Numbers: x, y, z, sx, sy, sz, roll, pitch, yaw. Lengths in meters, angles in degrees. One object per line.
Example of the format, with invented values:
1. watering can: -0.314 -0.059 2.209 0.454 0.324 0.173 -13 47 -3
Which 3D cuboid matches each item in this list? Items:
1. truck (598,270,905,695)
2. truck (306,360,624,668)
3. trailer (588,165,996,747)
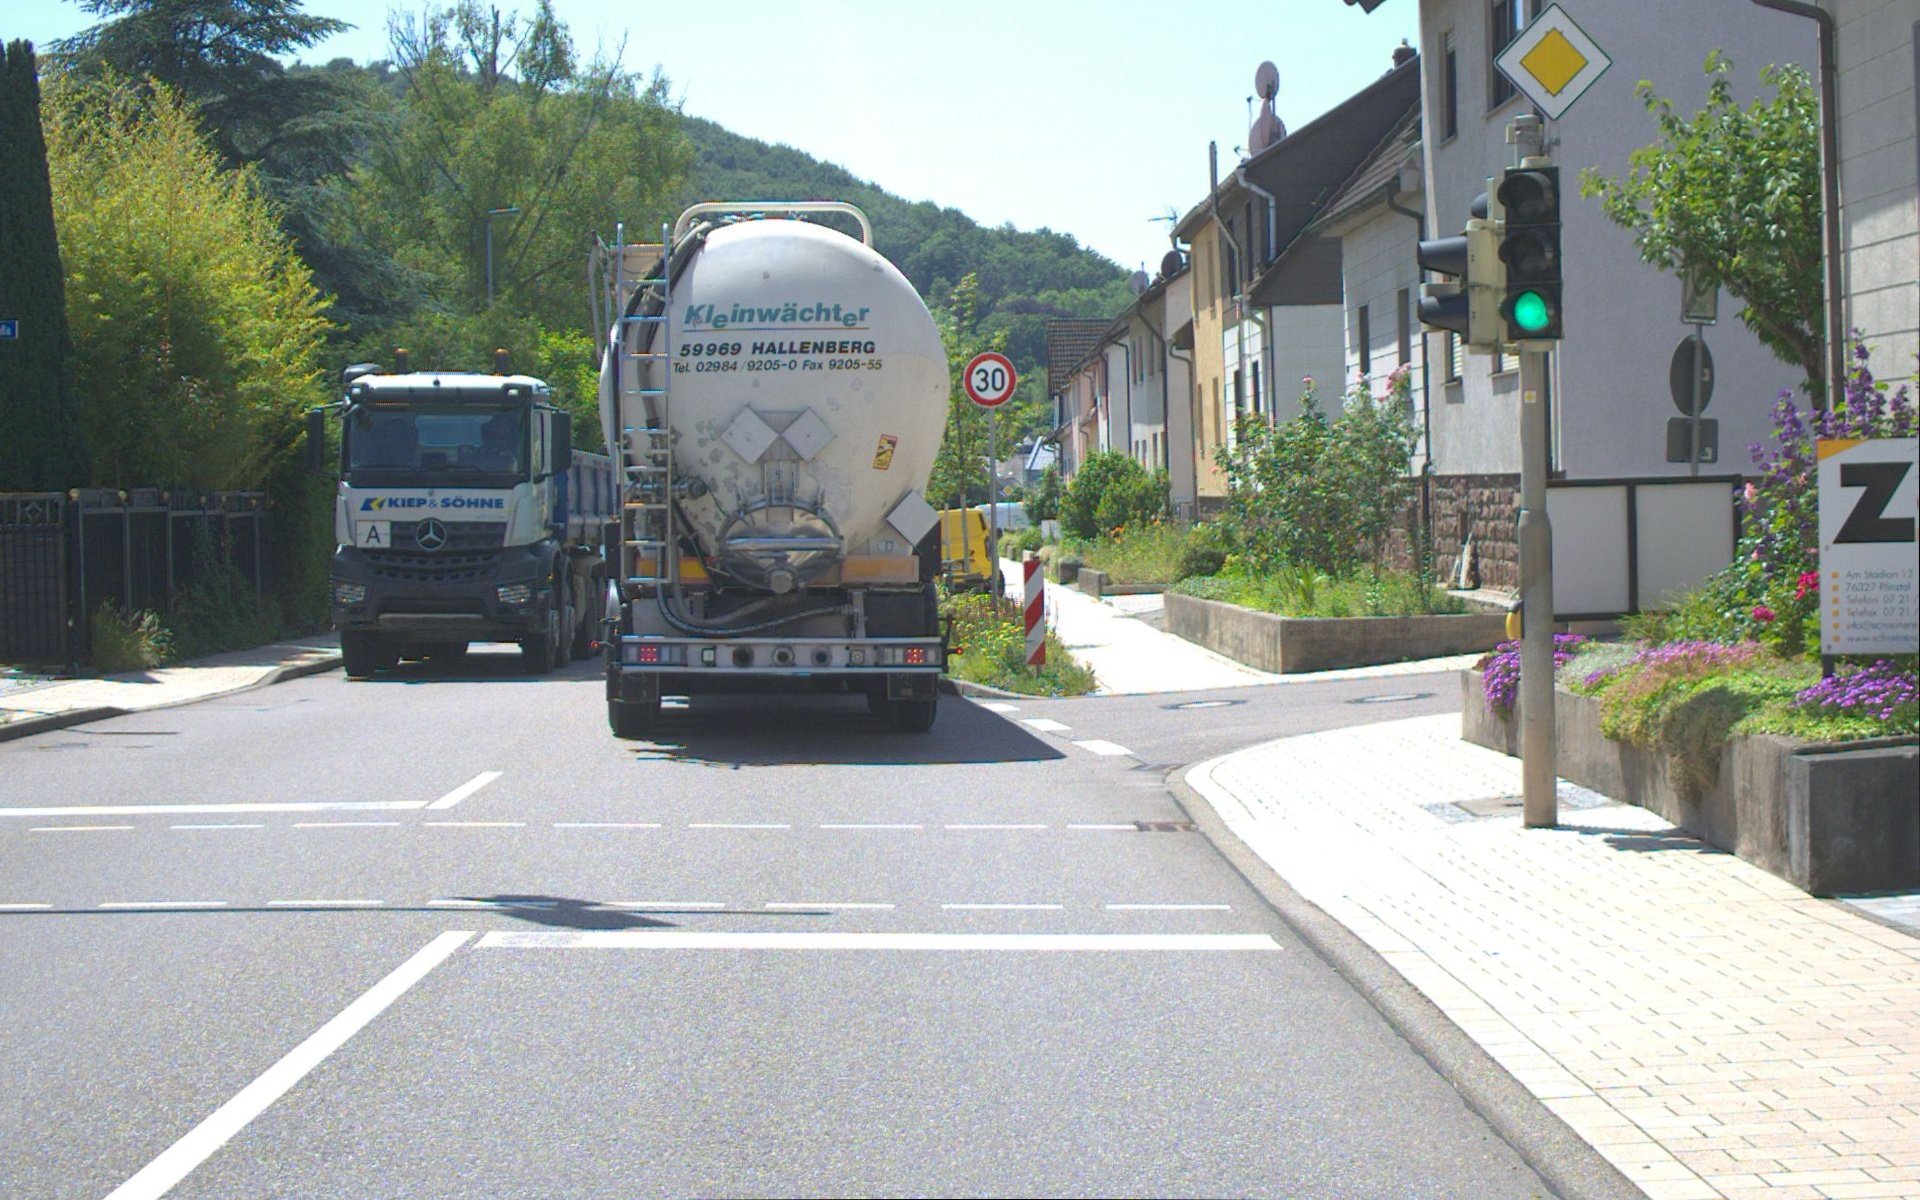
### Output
1. truck: -2.199 -1.145 35.103 2.808 3.923 6.100 1 1 -5
2. truck: -5.881 -1.029 42.234 2.728 3.360 8.635 1 1 -1
3. trailer: -1.642 -1.070 28.811 2.795 3.987 10.326 0 1 -5
